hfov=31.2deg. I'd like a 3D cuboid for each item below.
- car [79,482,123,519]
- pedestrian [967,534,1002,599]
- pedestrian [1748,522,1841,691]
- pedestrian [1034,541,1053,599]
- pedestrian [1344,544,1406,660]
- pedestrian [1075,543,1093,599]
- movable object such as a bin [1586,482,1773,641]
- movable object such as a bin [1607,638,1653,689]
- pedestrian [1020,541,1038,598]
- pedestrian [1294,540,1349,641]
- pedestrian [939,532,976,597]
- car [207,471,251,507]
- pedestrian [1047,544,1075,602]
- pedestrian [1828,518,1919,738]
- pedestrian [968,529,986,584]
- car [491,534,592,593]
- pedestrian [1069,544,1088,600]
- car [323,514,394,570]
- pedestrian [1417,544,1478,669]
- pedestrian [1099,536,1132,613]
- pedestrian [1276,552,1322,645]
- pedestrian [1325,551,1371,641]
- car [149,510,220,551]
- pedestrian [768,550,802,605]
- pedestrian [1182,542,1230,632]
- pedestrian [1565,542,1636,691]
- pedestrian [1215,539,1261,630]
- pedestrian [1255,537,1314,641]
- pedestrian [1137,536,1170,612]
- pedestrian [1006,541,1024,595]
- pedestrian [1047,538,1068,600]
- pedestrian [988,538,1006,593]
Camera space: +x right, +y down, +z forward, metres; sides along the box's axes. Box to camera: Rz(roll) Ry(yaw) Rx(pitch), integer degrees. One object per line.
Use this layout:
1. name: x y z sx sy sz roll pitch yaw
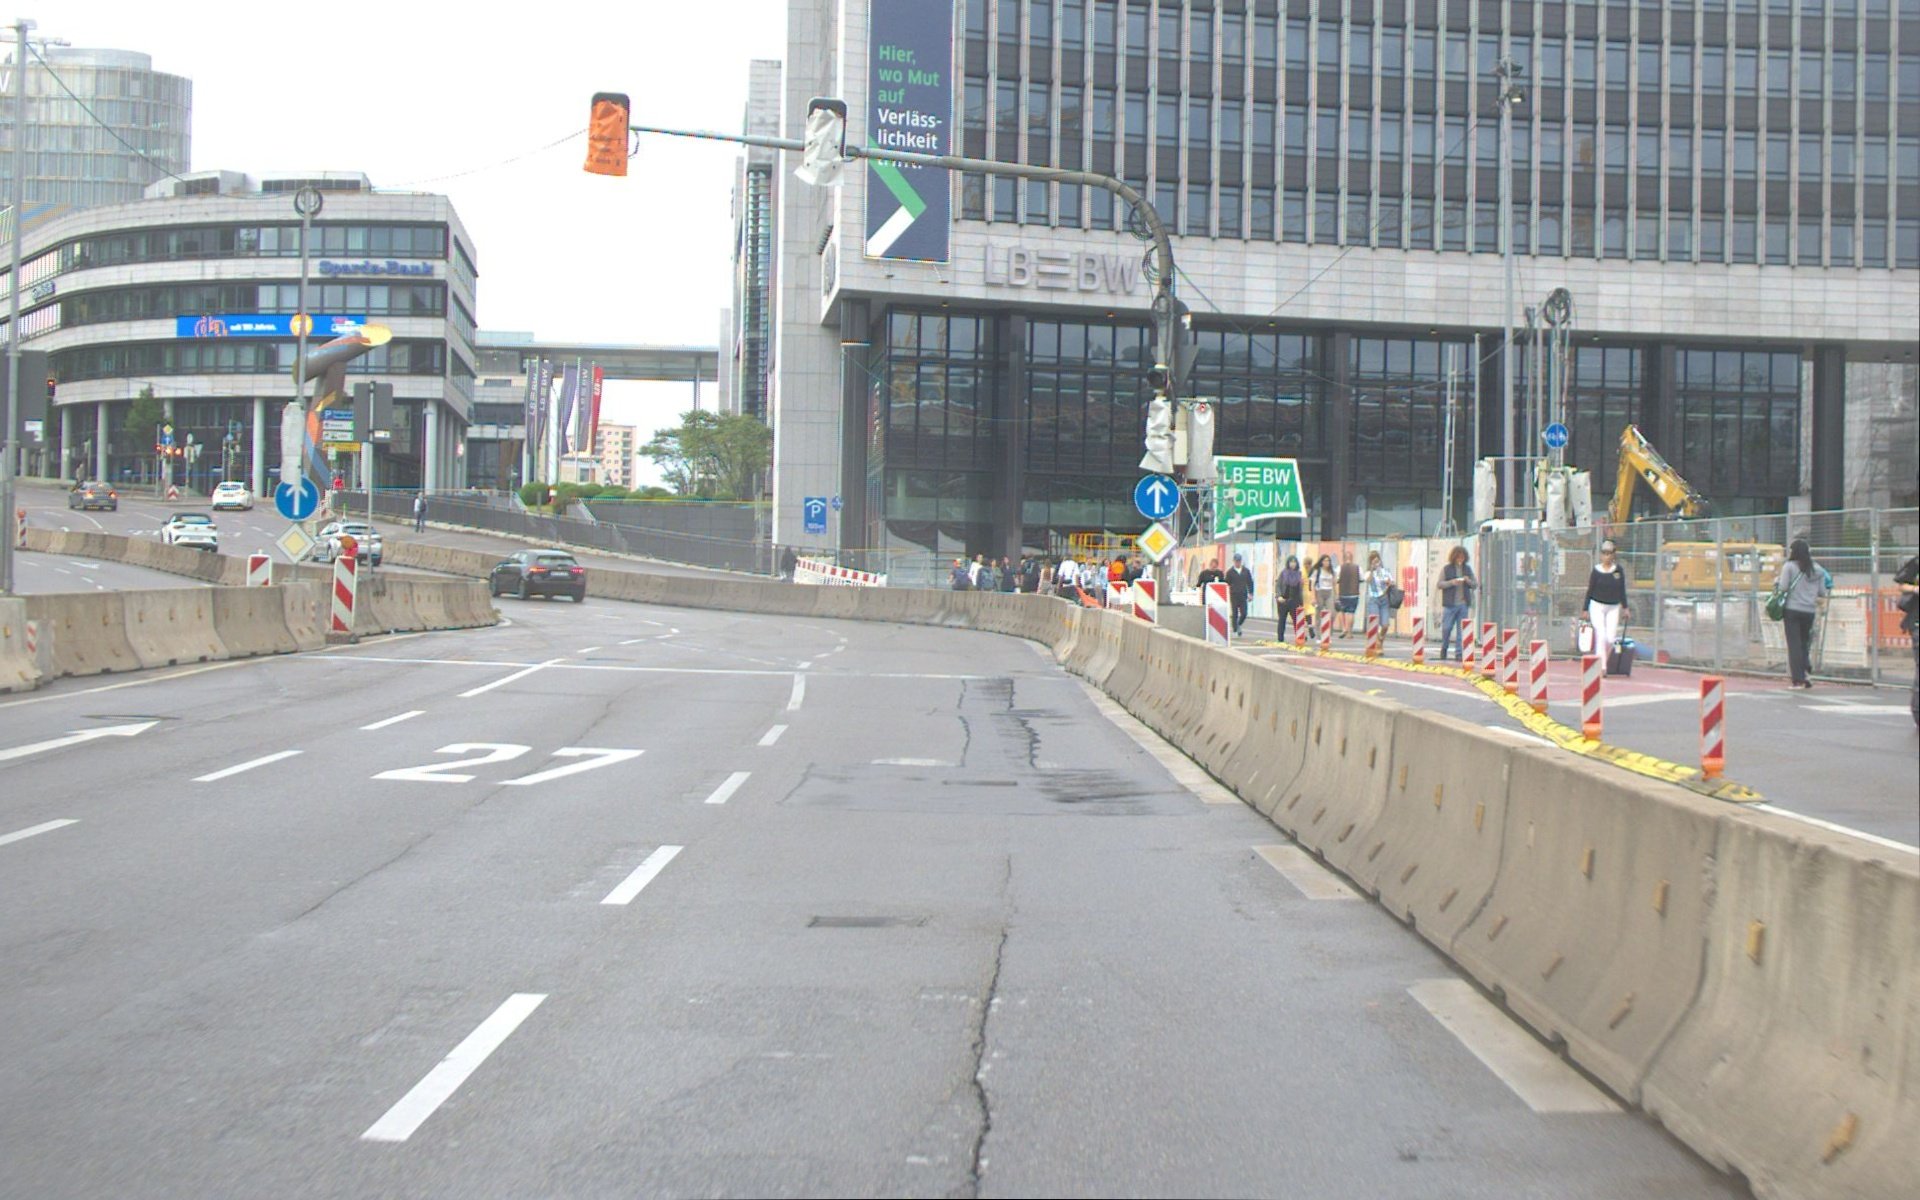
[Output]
1. car: -43.529 -5.070 174.186 1.993 1.798 4.267 1 1 -15
2. pedestrian: 0.630 -0.856 88.289 0.658 1.636 0.824 1 1 -13
3. pedestrian: 9.352 0.070 38.553 0.786 1.855 0.683 2 1 -5
4. pedestrian: 2.512 -0.904 103.473 0.448 1.699 0.646 2 1 7
5. pedestrian: 6.753 0.022 55.975 0.779 1.855 0.949 2 1 -5
6. pedestrian: 3.775 -0.886 104.628 0.448 1.699 0.647 2 1 -3
7. movable object such as a bin: 18.830 -1.020 90.115 3.086 4.016 3.698 1 1 -24
8. movable object such as a bin: 8.566 0.810 43.968 0.433 0.622 0.535 2 1 -5
9. pedestrian: 2.073 -0.927 103.895 0.448 1.699 0.647 2 1 5
10. pedestrian: 6.742 -0.188 64.133 0.779 1.855 1.058 2 1 -5
11. pedestrian: -0.061 -0.905 88.115 0.750 1.636 0.824 1 1 -13
12. car: -37.959 -5.774 178.486 1.993 1.798 4.267 1 1 -15
13. pedestrian: 2.991 -0.812 101.887 0.511 1.699 0.574 1 2 -39
14. pedestrian: 7.852 0.236 29.130 0.796 1.827 0.626 1 0 1
15. pedestrian: 0.521 -1.376 107.867 0.448 1.699 0.647 2 1 -6
16. car: -11.723 -1.010 96.221 1.674 1.503 3.746 2 -2 -25
17. pedestrian: 3.677 -0.865 106.820 0.500 1.699 0.733 2 1 -3
18. car: -20.844 -2.029 119.075 1.738 1.869 3.779 1 1 -21
19. pedestrian: 7.409 0.089 52.249 0.689 1.855 0.812 2 1 -5
20. pedestrian: 4.138 -0.681 91.667 0.784 2.007 0.863 2 1 5
21. pedestrian: 6.789 -0.035 68.889 0.732 1.848 0.831 2 0 -3
22. pedestrian: 8.039 -0.081 71.257 0.779 1.855 0.812 0 1 -5
23. car: -29.557 -2.665 131.046 1.741 1.501 3.755 1 1 -27
24. pedestrian: -5.778 -0.745 113.649 0.756 1.784 1.057 2 0 -22
25. pedestrian: 5.027 -0.268 70.299 0.819 1.821 1.111 1 0 -4
26. pedestrian: 8.115 0.201 43.577 0.664 1.855 0.683 2 1 -5
27. pedestrian: 5.750 -0.328 71.206 0.779 1.855 0.812 2 1 -5
28. pedestrian: 5.905 -0.207 62.629 0.869 1.855 0.949 2 1 -5
29. pedestrian: 5.158 -0.697 91.556 0.784 2.007 0.863 2 1 5
30. pedestrian: 1.732 -1.007 108.211 0.448 1.699 0.647 2 1 -6
31. pedestrian: 2.848 -0.905 100.311 0.529 1.812 0.536 2 1 -2
32. pedestrian: 1.165 -1.084 108.138 0.453 1.699 0.647 2 1 -6
